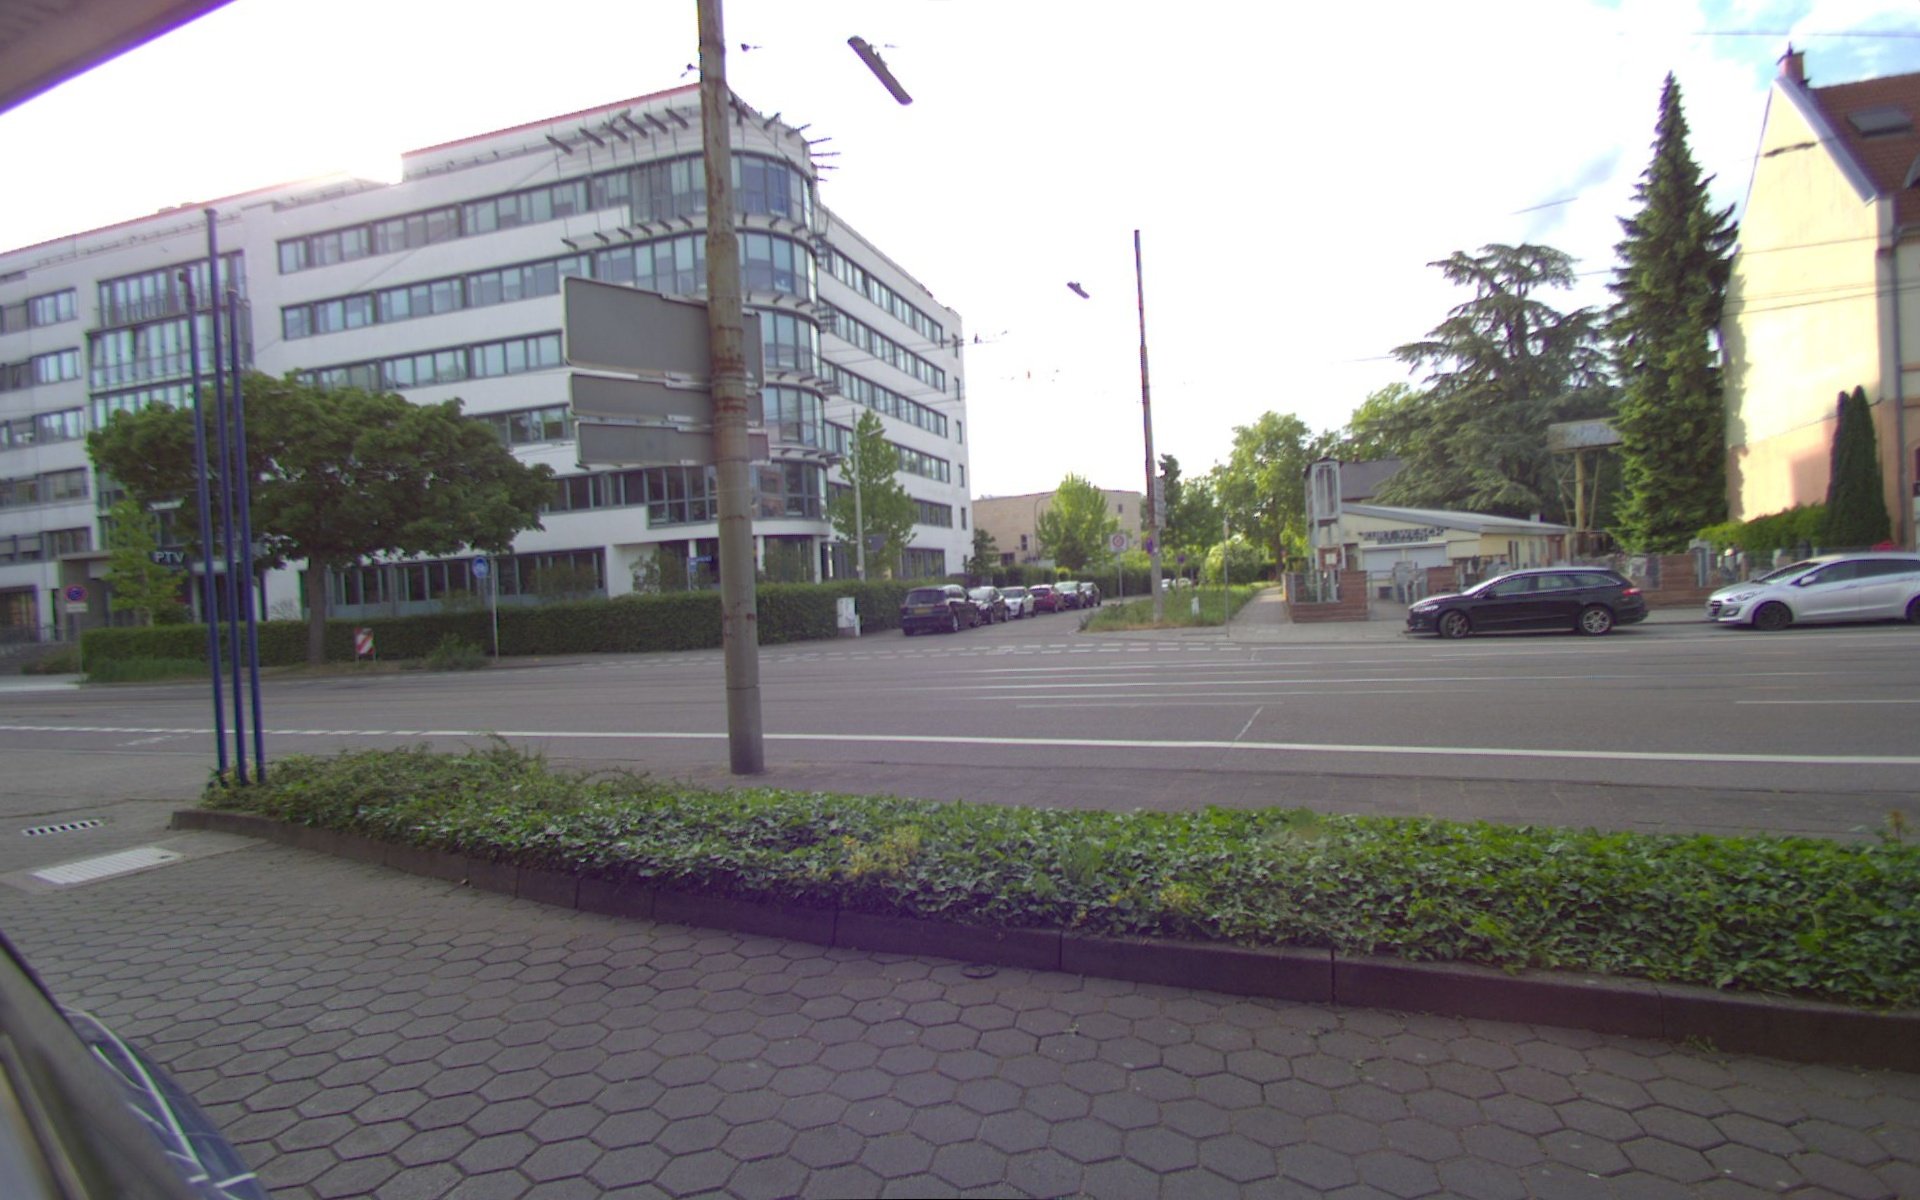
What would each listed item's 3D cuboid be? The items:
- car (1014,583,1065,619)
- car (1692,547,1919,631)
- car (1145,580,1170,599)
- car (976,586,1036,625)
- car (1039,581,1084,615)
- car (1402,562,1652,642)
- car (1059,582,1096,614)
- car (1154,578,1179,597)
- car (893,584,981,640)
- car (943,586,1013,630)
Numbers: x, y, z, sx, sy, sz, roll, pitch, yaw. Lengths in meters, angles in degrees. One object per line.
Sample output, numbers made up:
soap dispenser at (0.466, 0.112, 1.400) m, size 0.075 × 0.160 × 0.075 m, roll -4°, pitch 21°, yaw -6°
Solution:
car at (4.173, 0.027, 52.491) m, size 1.929 × 1.650 × 4.274 m, roll -3°, pitch 0°, yaw 13°
car at (18.422, -0.248, 21.381) m, size 4.424 × 1.494 × 1.713 m, roll -3°, pitch 1°, yaw 21°
car at (19.693, -1.078, 100.792) m, size 1.849 × 1.748 × 4.247 m, roll -3°, pitch 0°, yaw 19°
car at (2.140, 0.218, 45.785) m, size 1.929 × 1.530 × 4.274 m, roll -3°, pitch 0°, yaw 13°
car at (5.832, -0.145, 57.720) m, size 1.929 × 1.748 × 4.512 m, roll -3°, pitch 0°, yaw 13°
car at (12.911, 0.053, 23.442) m, size 4.744 × 1.511 × 2.000 m, roll -3°, pitch 1°, yaw 22°
car at (7.286, -0.155, 62.494) m, size 1.731 × 1.748 × 4.030 m, roll -3°, pitch 0°, yaw 13°
car at (21.684, -1.328, 106.162) m, size 1.849 × 1.748 × 4.246 m, roll -3°, pitch 0°, yaw 19°
car at (-0.727, 0.364, 35.414) m, size 1.994 × 1.704 × 4.274 m, roll -3°, pitch 1°, yaw 13°
car at (0.792, 0.295, 40.974) m, size 1.929 × 1.551 × 4.274 m, roll -3°, pitch 0°, yaw 13°
